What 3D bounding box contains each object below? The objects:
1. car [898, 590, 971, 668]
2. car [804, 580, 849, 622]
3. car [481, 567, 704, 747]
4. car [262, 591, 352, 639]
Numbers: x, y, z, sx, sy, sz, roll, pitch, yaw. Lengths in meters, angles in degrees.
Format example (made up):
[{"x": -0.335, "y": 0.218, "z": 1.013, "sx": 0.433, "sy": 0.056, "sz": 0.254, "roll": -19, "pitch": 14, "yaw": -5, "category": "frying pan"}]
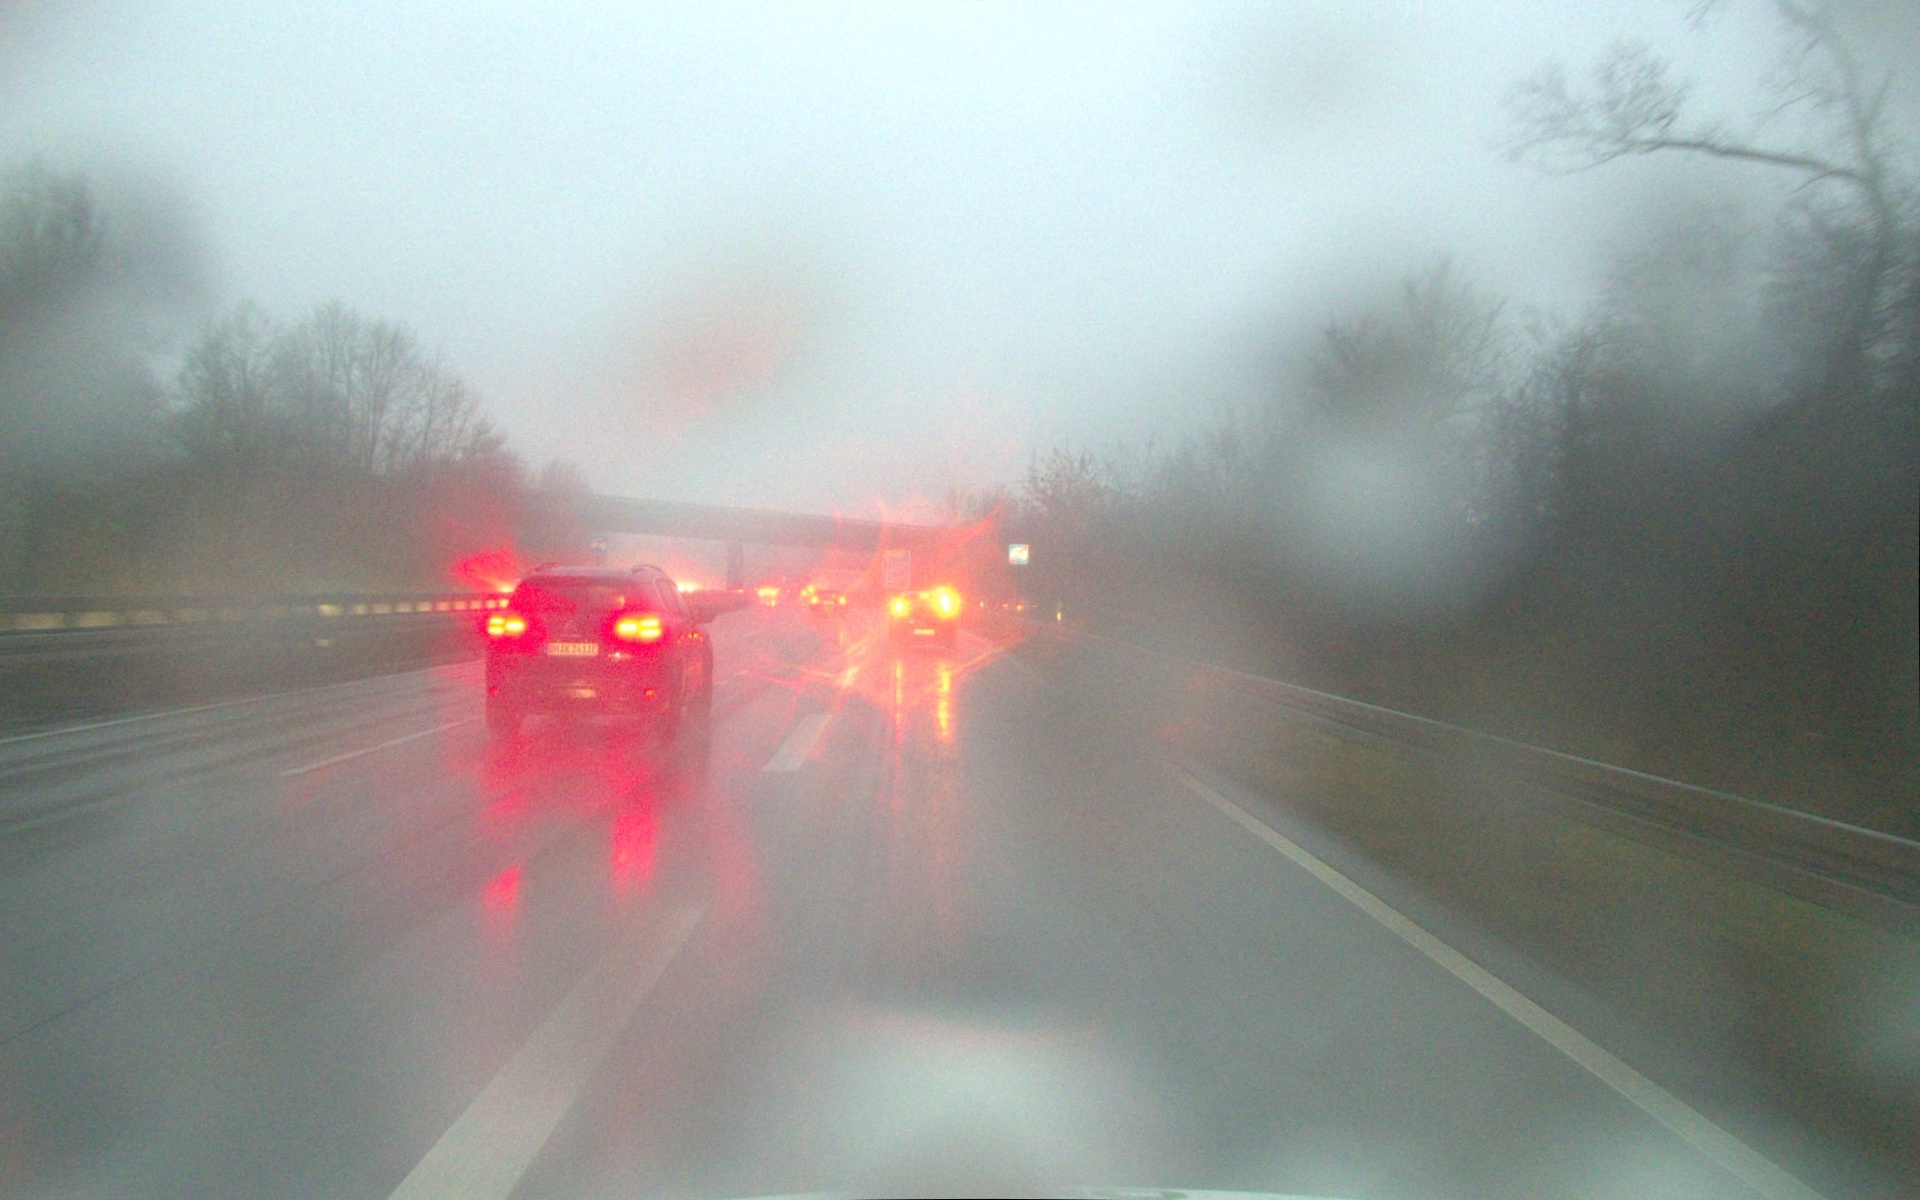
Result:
[{"x": -0.636, "y": 0.690, "z": 41.697, "sx": 1.697, "sy": 1.453, "sz": 3.767, "roll": 2, "pitch": 5, "yaw": -1, "category": "car"}, {"x": -5.832, "y": 0.027, "z": 72.580, "sx": 1.841, "sy": 1.645, "sz": 3.872, "roll": 3, "pitch": 2, "yaw": -3, "category": "car"}, {"x": -3.778, "y": 0.532, "z": 17.643, "sx": 1.956, "sy": 1.694, "sz": 3.993, "roll": 1, "pitch": 0, "yaw": -8, "category": "car"}, {"x": -23.354, "y": 0.538, "z": 59.328, "sx": 1.649, "sy": 1.664, "sz": 4.202, "roll": 0, "pitch": -1, "yaw": -2, "category": "car"}]
